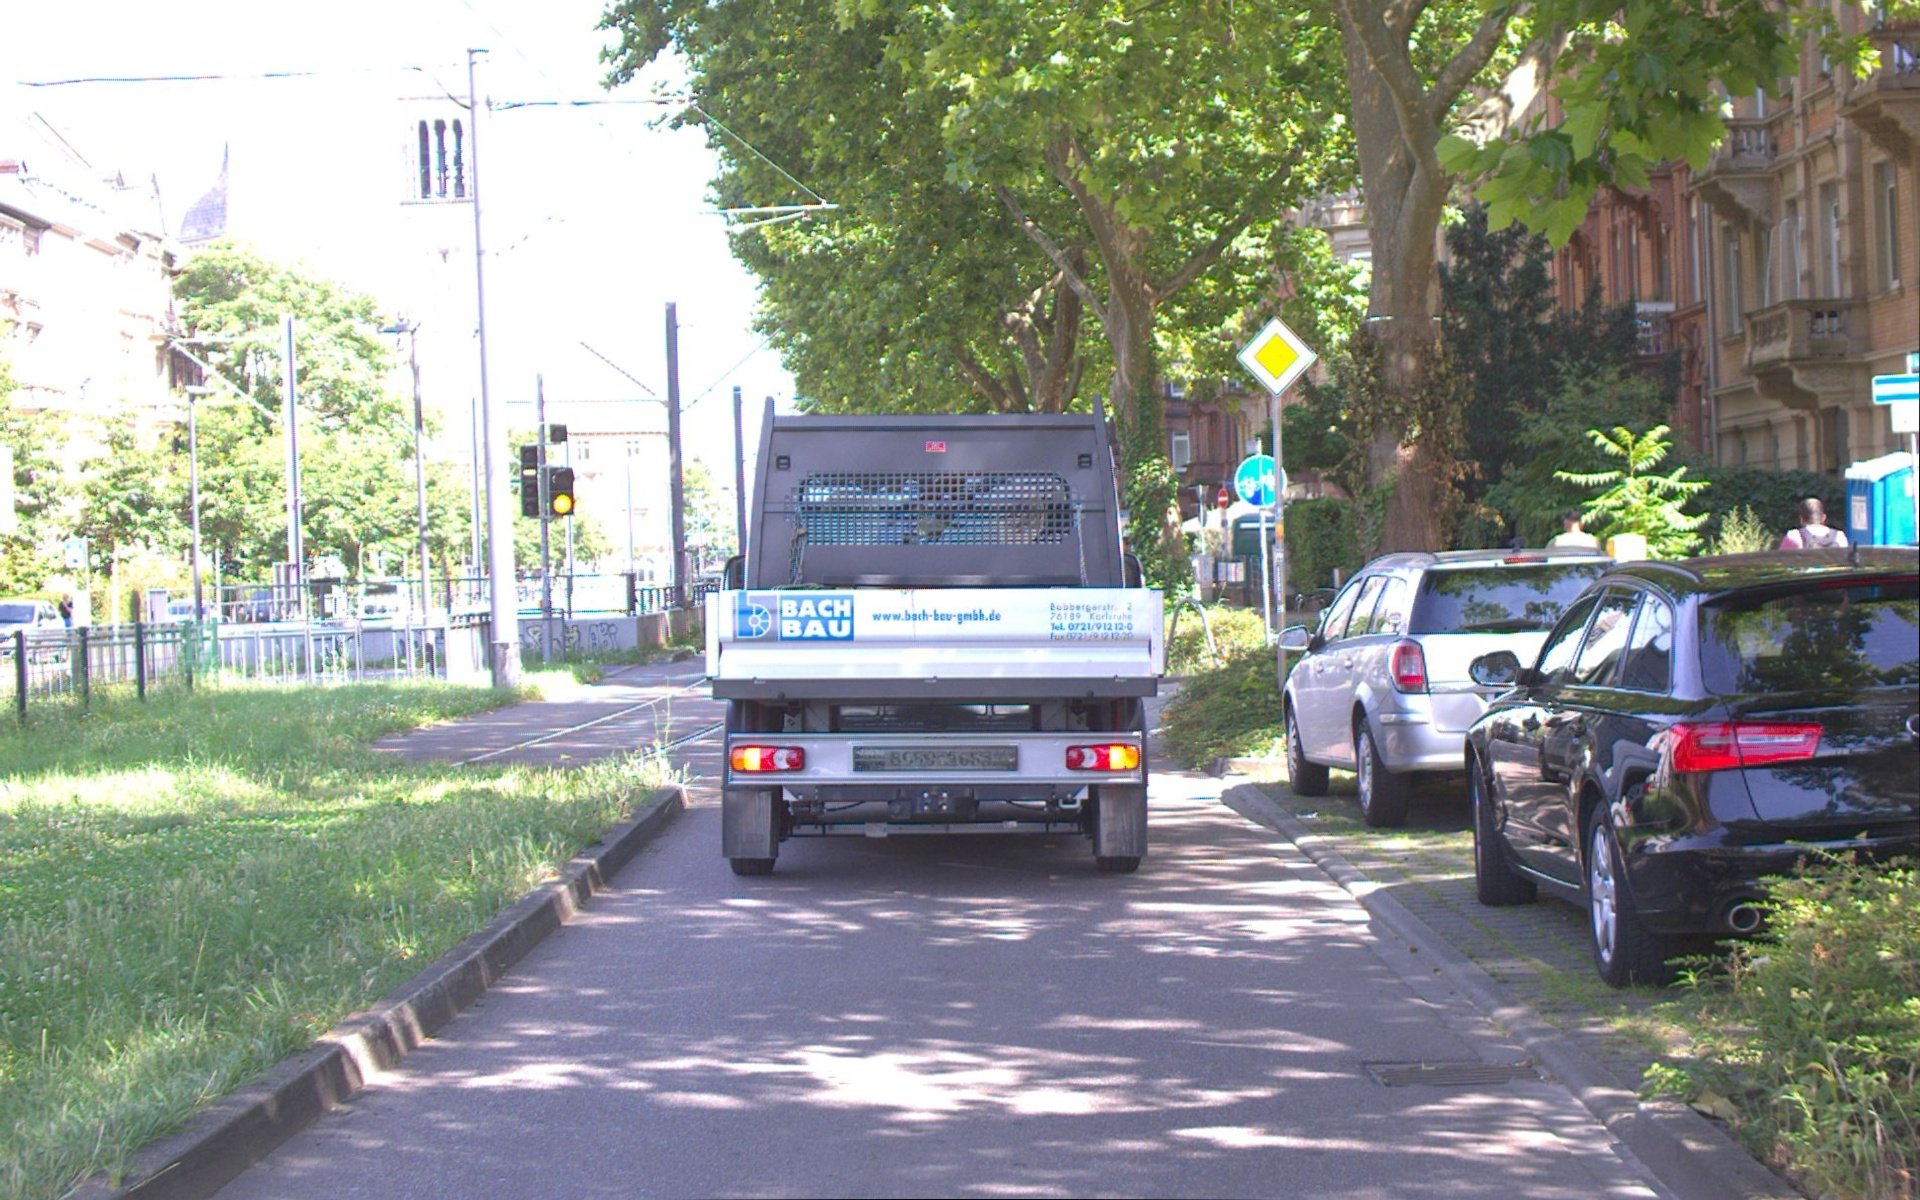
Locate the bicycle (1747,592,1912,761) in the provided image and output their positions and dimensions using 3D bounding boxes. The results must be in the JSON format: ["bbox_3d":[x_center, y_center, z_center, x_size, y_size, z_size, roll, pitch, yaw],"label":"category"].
[{"bbox_3d":[6.185,0.519,24.565,0.565,1.108,2.310,-2,1,0],"label":"bicycle"}]

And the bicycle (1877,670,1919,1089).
[{"bbox_3d":[3.236,0.700,9.300,1.633,1.084,0.472,-3,1,-34],"label":"bicycle"}]

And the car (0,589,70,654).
[{"bbox_3d":[-23.387,0.534,85.626,1.770,1.493,4.001,-4,1,-7],"label":"car"}]

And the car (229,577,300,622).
[{"bbox_3d":[-24.378,-0.031,120.622,1.770,1.493,4.000,-2,1,-2],"label":"car"}]

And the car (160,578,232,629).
[{"bbox_3d":[-23.819,0.109,107.262,1.770,1.493,4.001,-2,1,-7],"label":"car"}]

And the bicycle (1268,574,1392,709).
[{"bbox_3d":[3.195,0.346,29.574,0.421,1.102,1.614,-2,1,29],"label":"bicycle"}]

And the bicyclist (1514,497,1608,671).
[{"bbox_3d":[5.522,-0.154,31.612,0.680,1.558,0.777,-2,1,0],"label":"bicyclist"}]

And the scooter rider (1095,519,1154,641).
[{"bbox_3d":[2.548,-0.310,53.250,0.663,1.860,0.668,-2,1,23],"label":"scooter rider"}]

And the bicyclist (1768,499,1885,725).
[{"bbox_3d":[6.156,0.082,24.436,0.638,1.568,0.579,-2,1,0],"label":"bicyclist"}]

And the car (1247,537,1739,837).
[{"bbox_3d":[3.001,0.432,20.334,1.833,1.503,4.493,-2,1,-5],"label":"car"}]

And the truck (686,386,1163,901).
[{"bbox_3d":[-0.167,0.169,17.630,2.138,2.311,4.402,0,1,0],"label":"truck"}]

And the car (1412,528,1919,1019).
[{"bbox_3d":[3.000,0.503,13.132,1.833,1.503,4.643,-2,1,-1],"label":"car"}]
